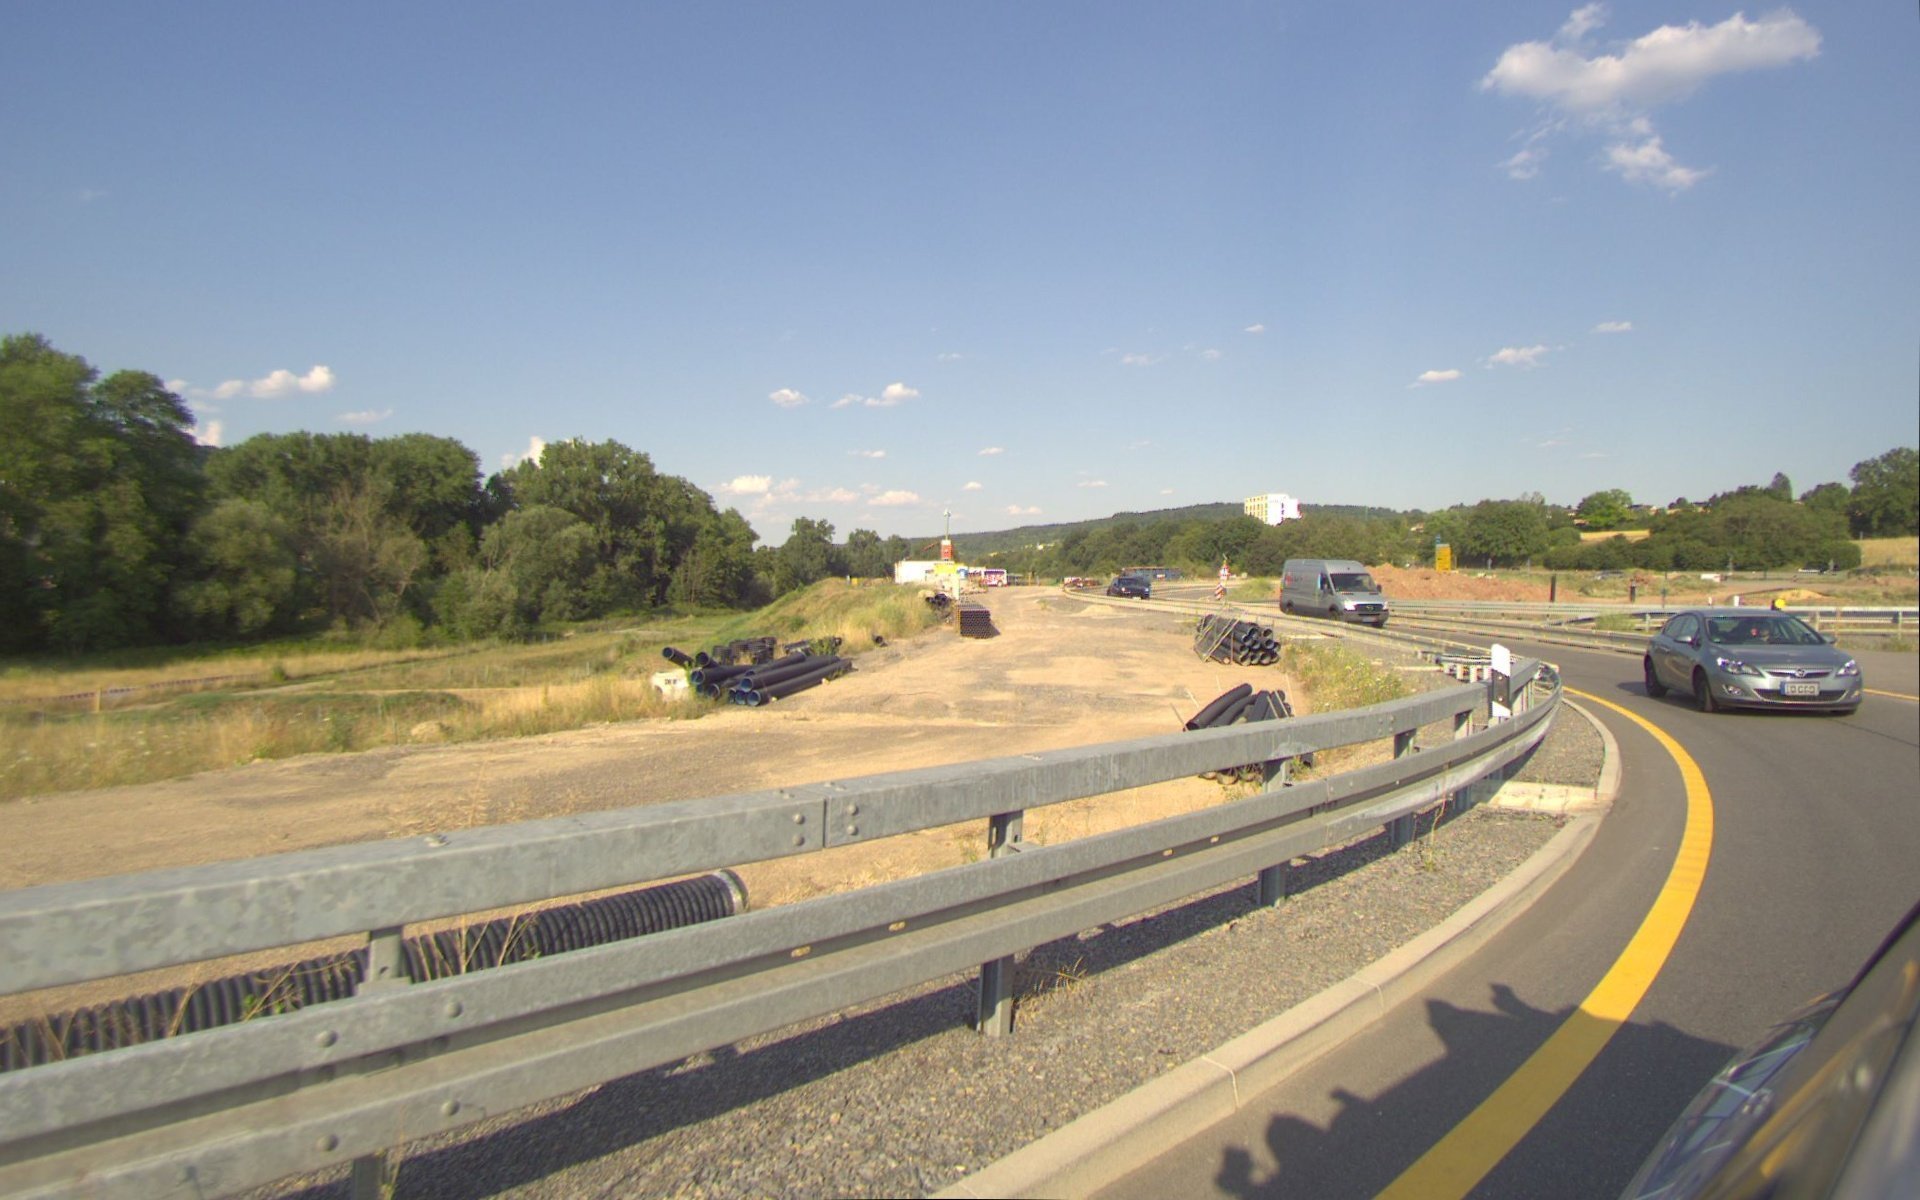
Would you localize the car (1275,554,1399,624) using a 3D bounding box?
[{"bbox_3d":[14.665,-0.527,39.836,1.878,2.531,5.810,-1,3,-10],"label":"car"}]

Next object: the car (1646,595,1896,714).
[{"bbox_3d":[11.921,0.715,15.229,1.728,1.503,4.220,-2,-1,22],"label":"car"}]

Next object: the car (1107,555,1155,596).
[{"bbox_3d":[10.675,-1.585,63.420,1.838,2.432,4.008,-1,2,-8],"label":"car"}]

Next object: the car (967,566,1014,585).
[{"bbox_3d":[3.580,-2.947,119.719,5.210,2.104,2.493,-1,2,-10],"label":"car"}]

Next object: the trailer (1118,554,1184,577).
[{"bbox_3d":[21.344,-3.902,112.849,7.087,2.444,3.016,-2,2,-32],"label":"trailer"}]
